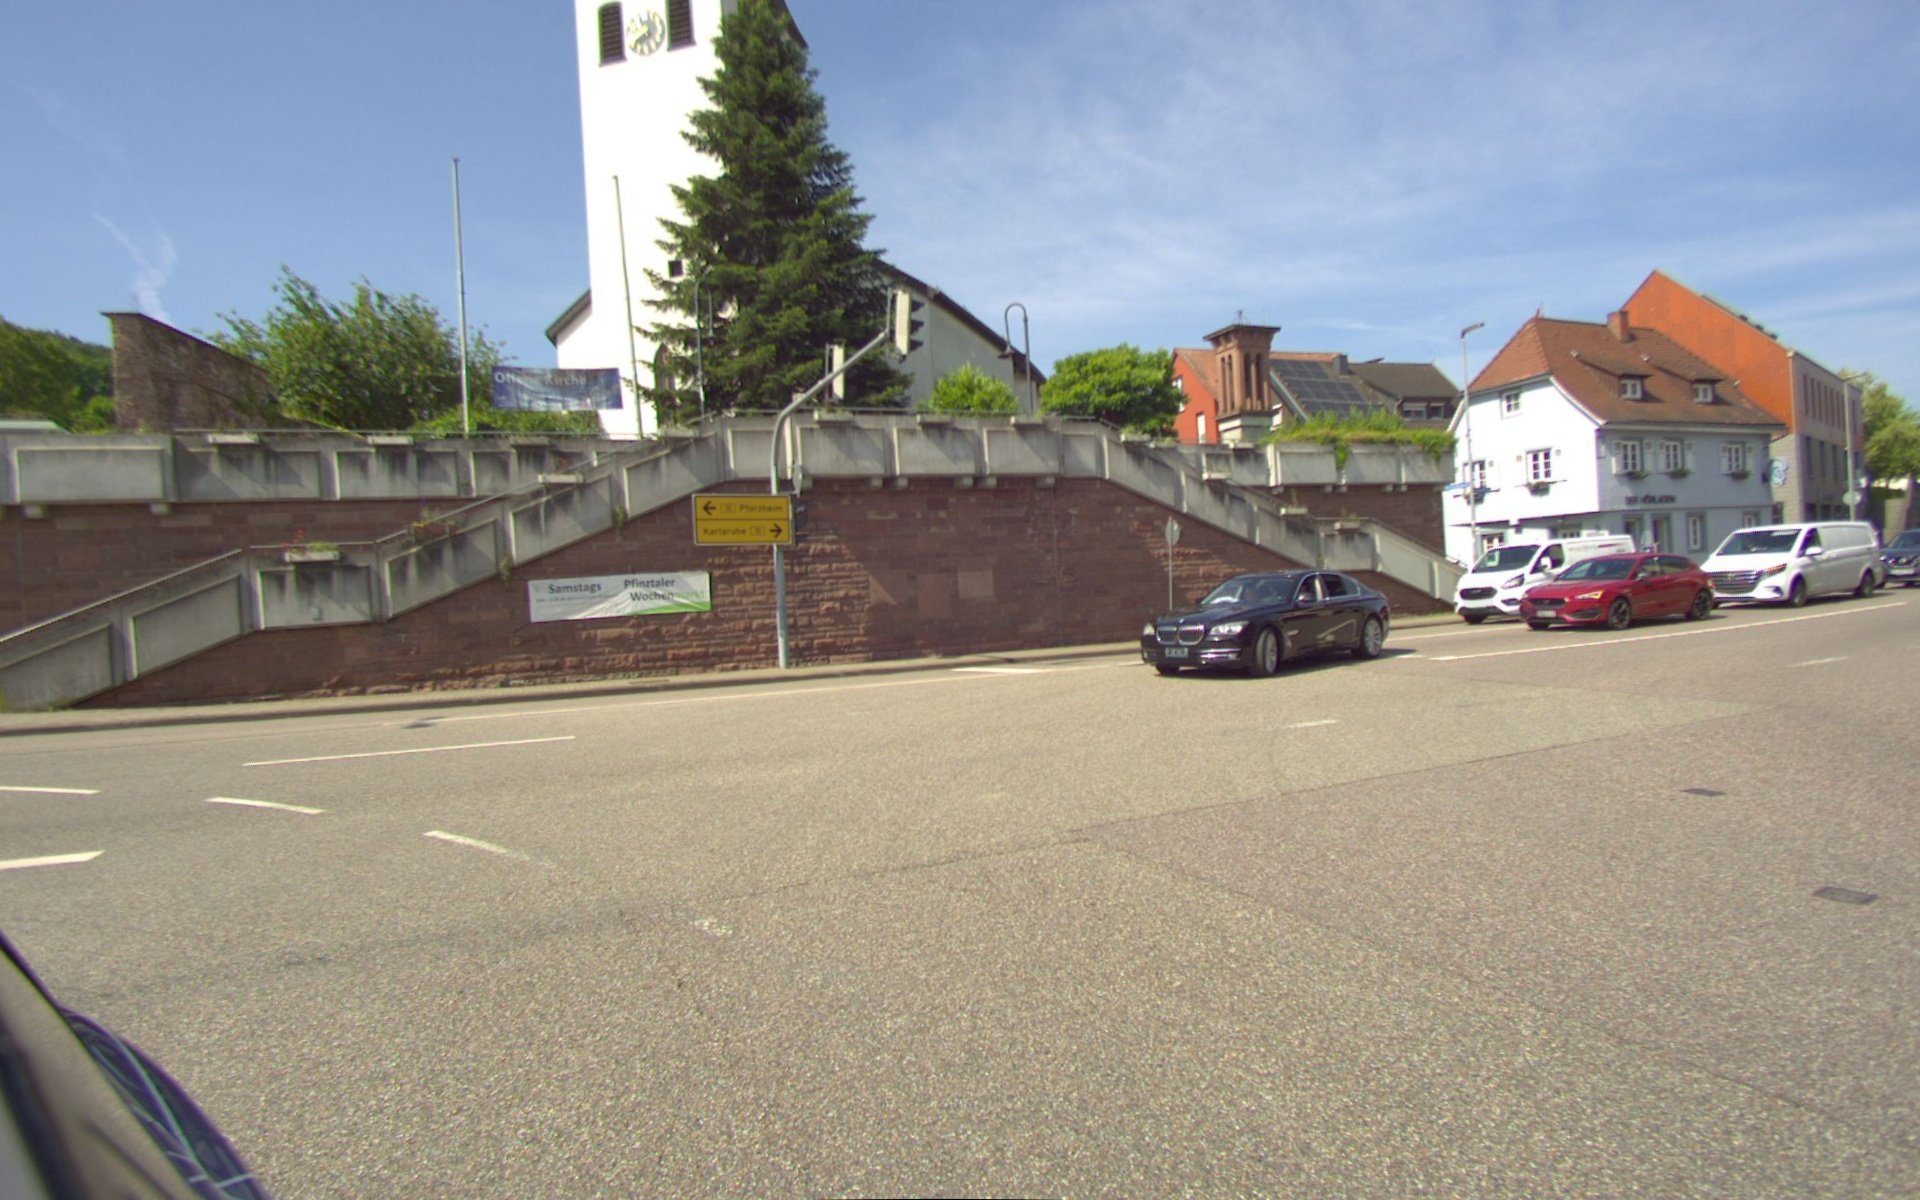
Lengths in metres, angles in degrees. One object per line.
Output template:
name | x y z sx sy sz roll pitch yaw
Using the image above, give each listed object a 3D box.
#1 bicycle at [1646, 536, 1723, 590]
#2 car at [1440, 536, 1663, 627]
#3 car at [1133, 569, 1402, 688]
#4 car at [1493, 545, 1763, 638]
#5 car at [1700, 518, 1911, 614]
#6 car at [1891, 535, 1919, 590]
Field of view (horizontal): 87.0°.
bicycle | 24.159 -1.243 33.741 2.520 1.619 0.561 -4 2 -14
car | 14.916 -0.470 25.508 5.186 1.981 2.151 -3 0 -24
car | 4.723 0.354 15.257 4.182 1.445 1.830 -3 1 -40
car | 13.493 -0.198 20.458 4.862 1.526 2.173 -4 1 -23
car | 19.512 -0.797 23.333 4.879 1.920 1.832 -4 0 -26
car | 25.785 -1.025 26.364 3.501 1.394 1.584 -3 3 -36
